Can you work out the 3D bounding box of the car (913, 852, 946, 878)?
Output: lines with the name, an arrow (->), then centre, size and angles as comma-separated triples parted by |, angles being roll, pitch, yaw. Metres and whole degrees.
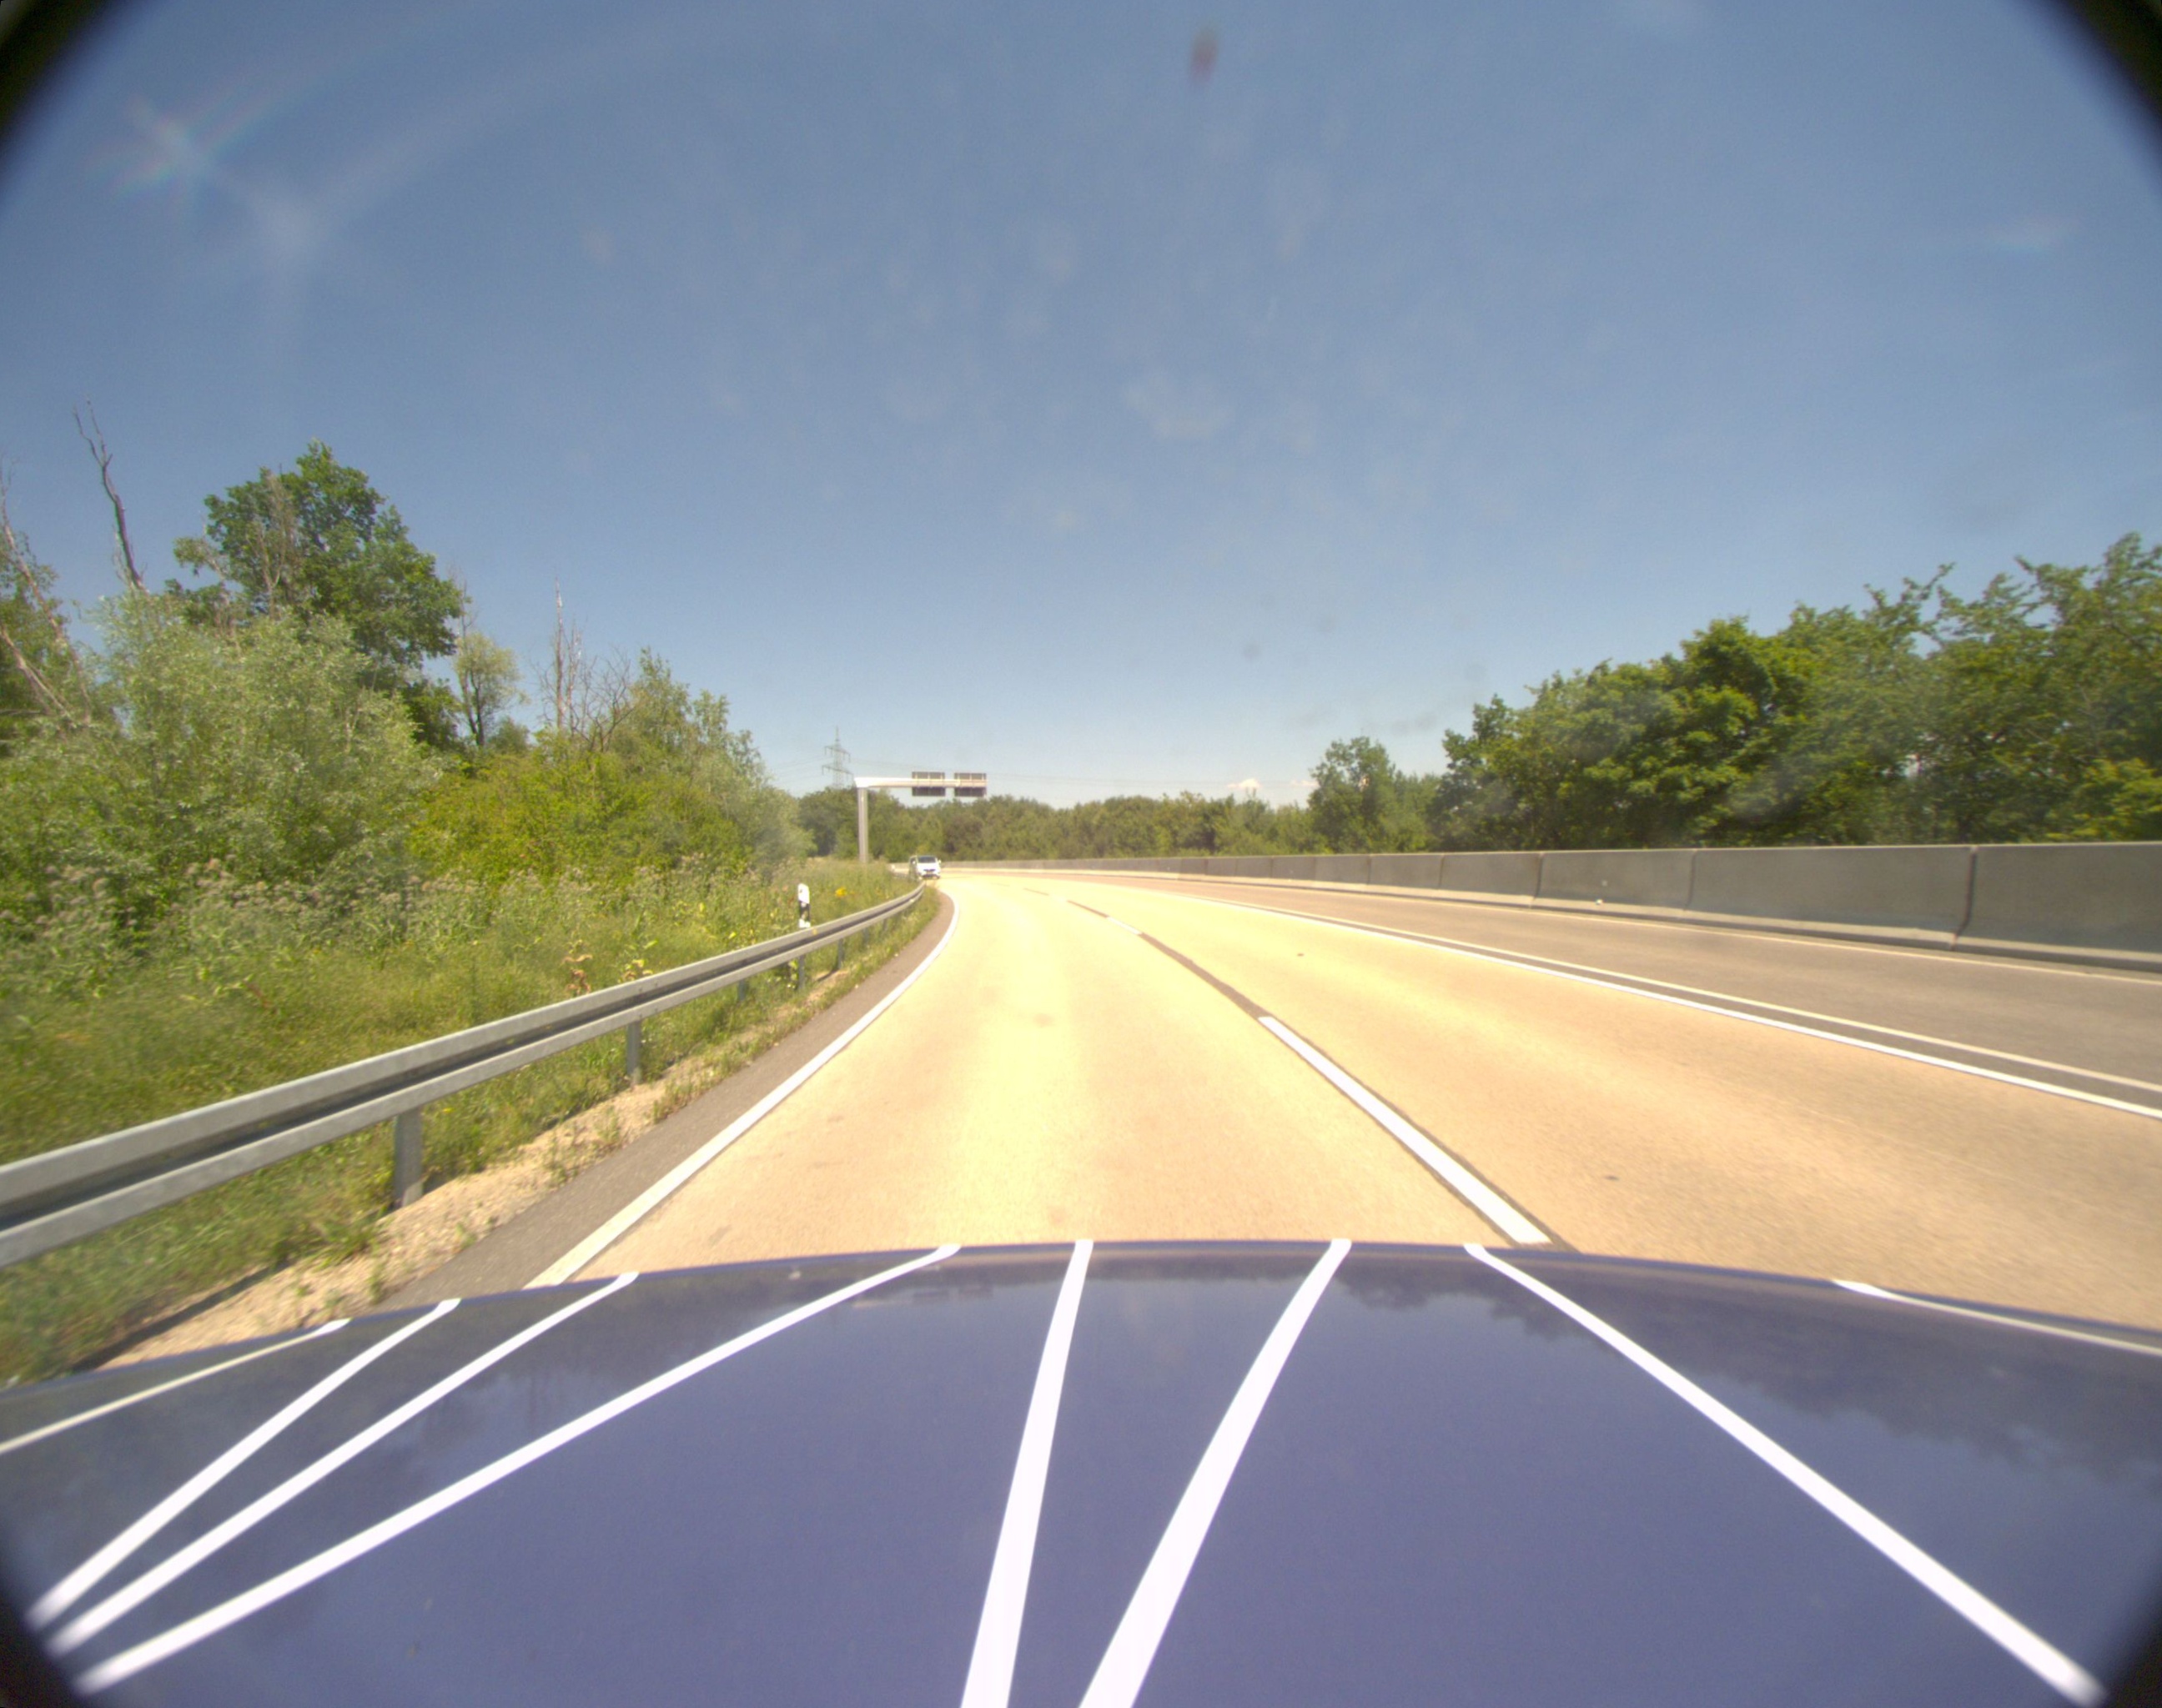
car -> -12.773, 0.887, 63.662 | 2.065, 2.002, 5.033 | -3, 1, -18
